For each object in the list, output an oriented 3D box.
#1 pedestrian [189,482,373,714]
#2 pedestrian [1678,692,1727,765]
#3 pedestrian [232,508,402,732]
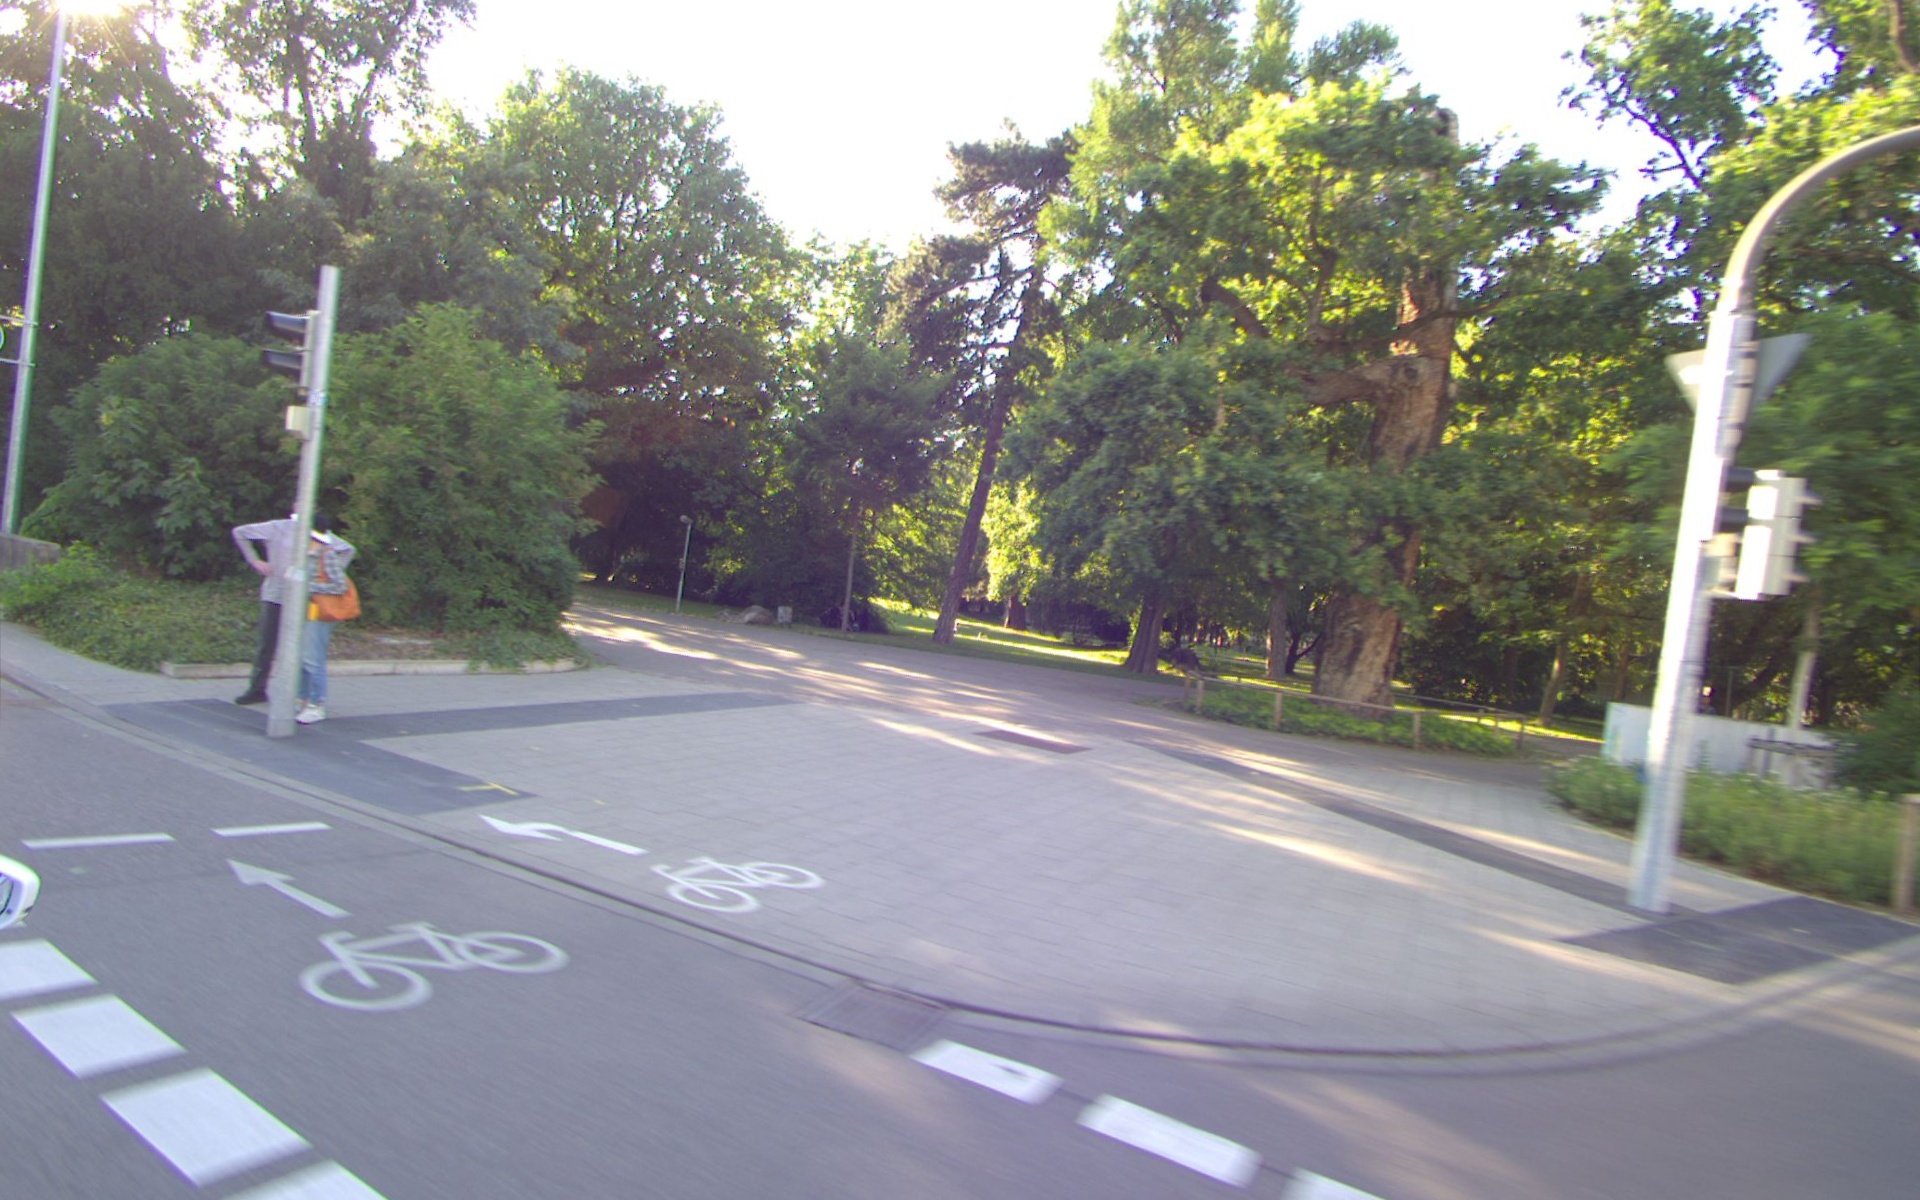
[{"bbox_3d":[-5.873,-0.022,8.757,0.891,1.826,0.858,6,2,-2],"label":"pedestrian"},{"bbox_3d":[19.405,3.340,26.295,0.774,1.753,0.802,8,3,43],"label":"pedestrian"},{"bbox_3d":[-5.180,0.151,8.129,0.756,1.658,0.767,7,3,23],"label":"pedestrian"}]
